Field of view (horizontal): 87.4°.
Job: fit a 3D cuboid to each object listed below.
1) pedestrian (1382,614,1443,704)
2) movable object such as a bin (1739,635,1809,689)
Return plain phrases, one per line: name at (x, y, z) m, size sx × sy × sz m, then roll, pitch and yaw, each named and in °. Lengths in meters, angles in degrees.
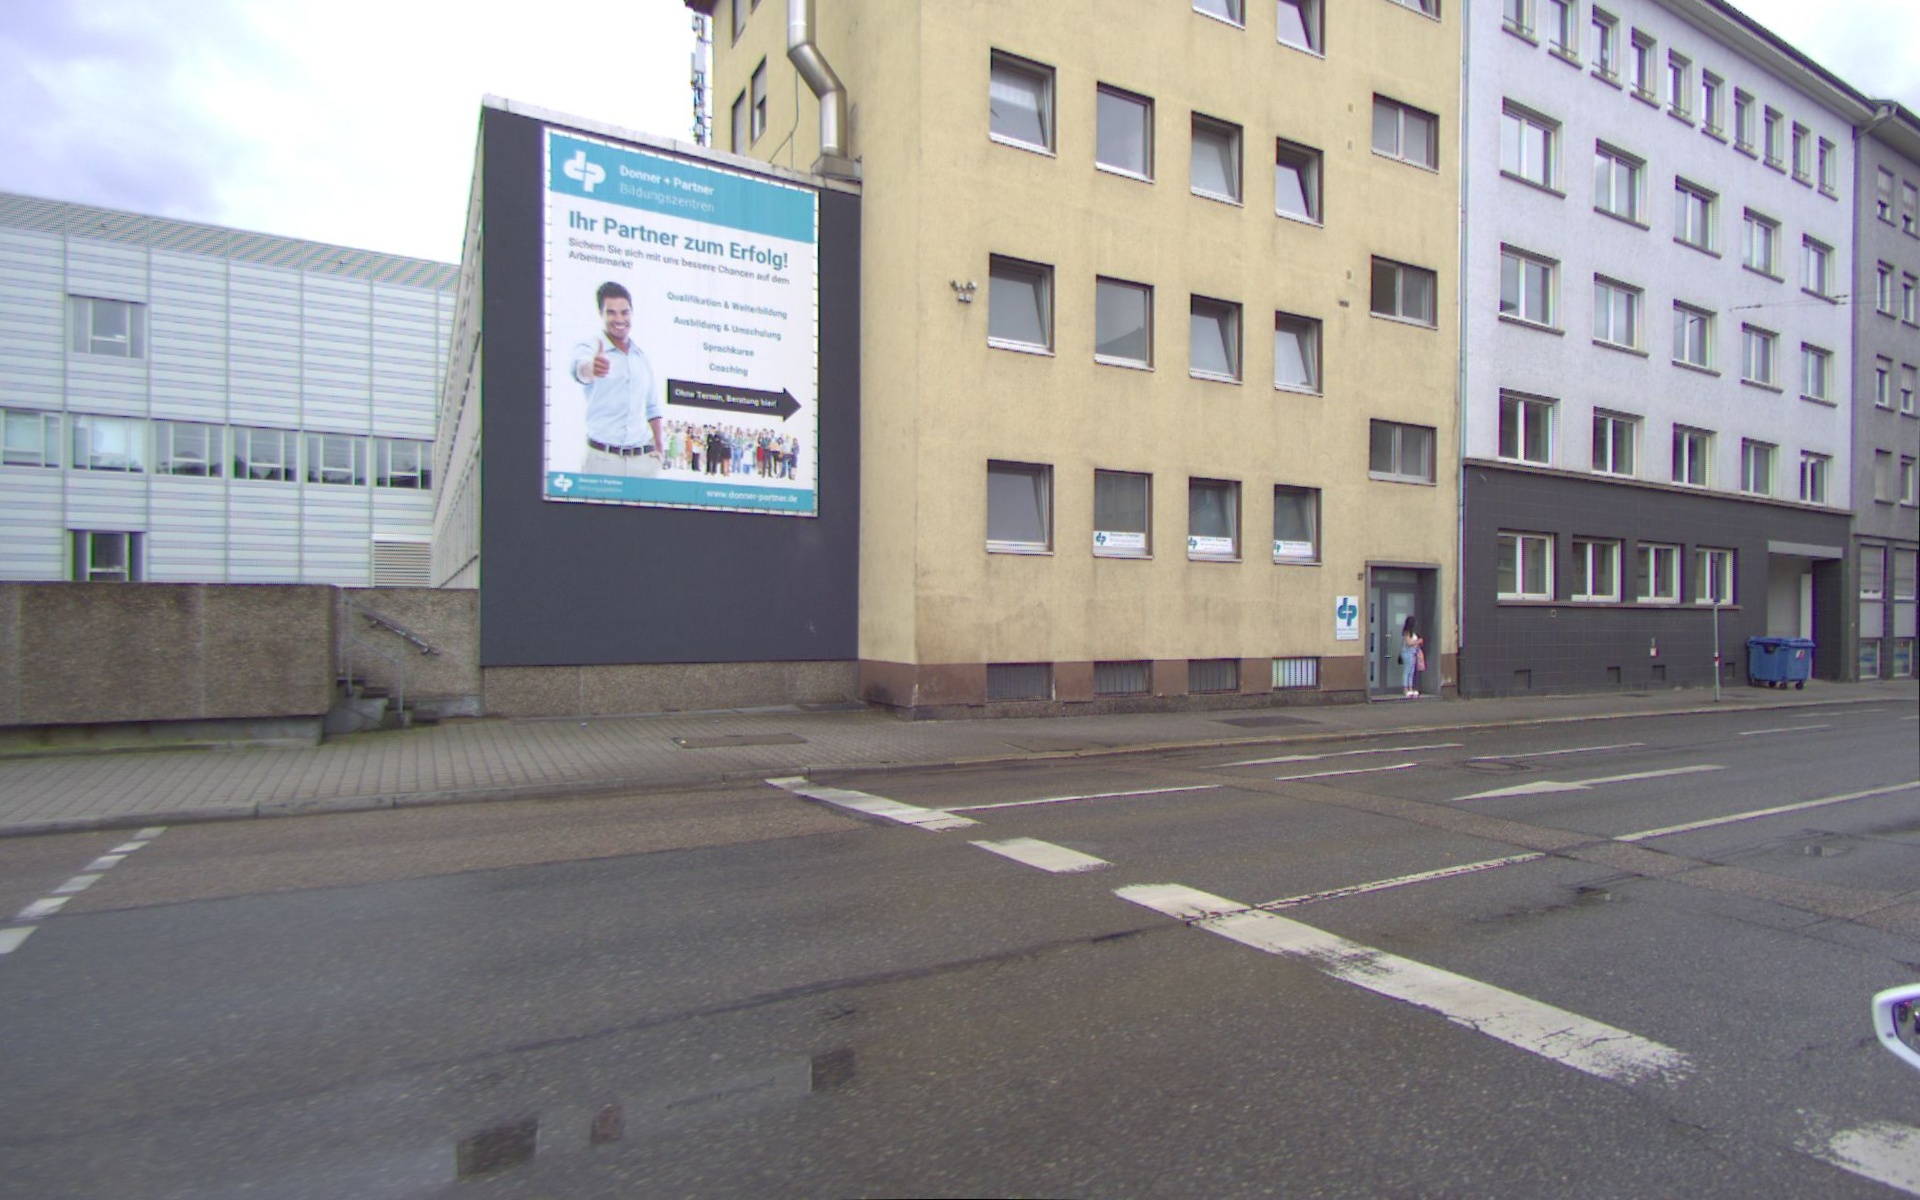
pedestrian at (8.934, 1.150, 19.842) m, size 0.801 × 1.712 × 0.714 m, roll 1°, pitch 0°, yaw -28°
movable object such as a bin at (21.539, 1.617, 26.592) m, size 1.176 × 1.342 × 1.071 m, roll 1°, pitch 0°, yaw -29°
